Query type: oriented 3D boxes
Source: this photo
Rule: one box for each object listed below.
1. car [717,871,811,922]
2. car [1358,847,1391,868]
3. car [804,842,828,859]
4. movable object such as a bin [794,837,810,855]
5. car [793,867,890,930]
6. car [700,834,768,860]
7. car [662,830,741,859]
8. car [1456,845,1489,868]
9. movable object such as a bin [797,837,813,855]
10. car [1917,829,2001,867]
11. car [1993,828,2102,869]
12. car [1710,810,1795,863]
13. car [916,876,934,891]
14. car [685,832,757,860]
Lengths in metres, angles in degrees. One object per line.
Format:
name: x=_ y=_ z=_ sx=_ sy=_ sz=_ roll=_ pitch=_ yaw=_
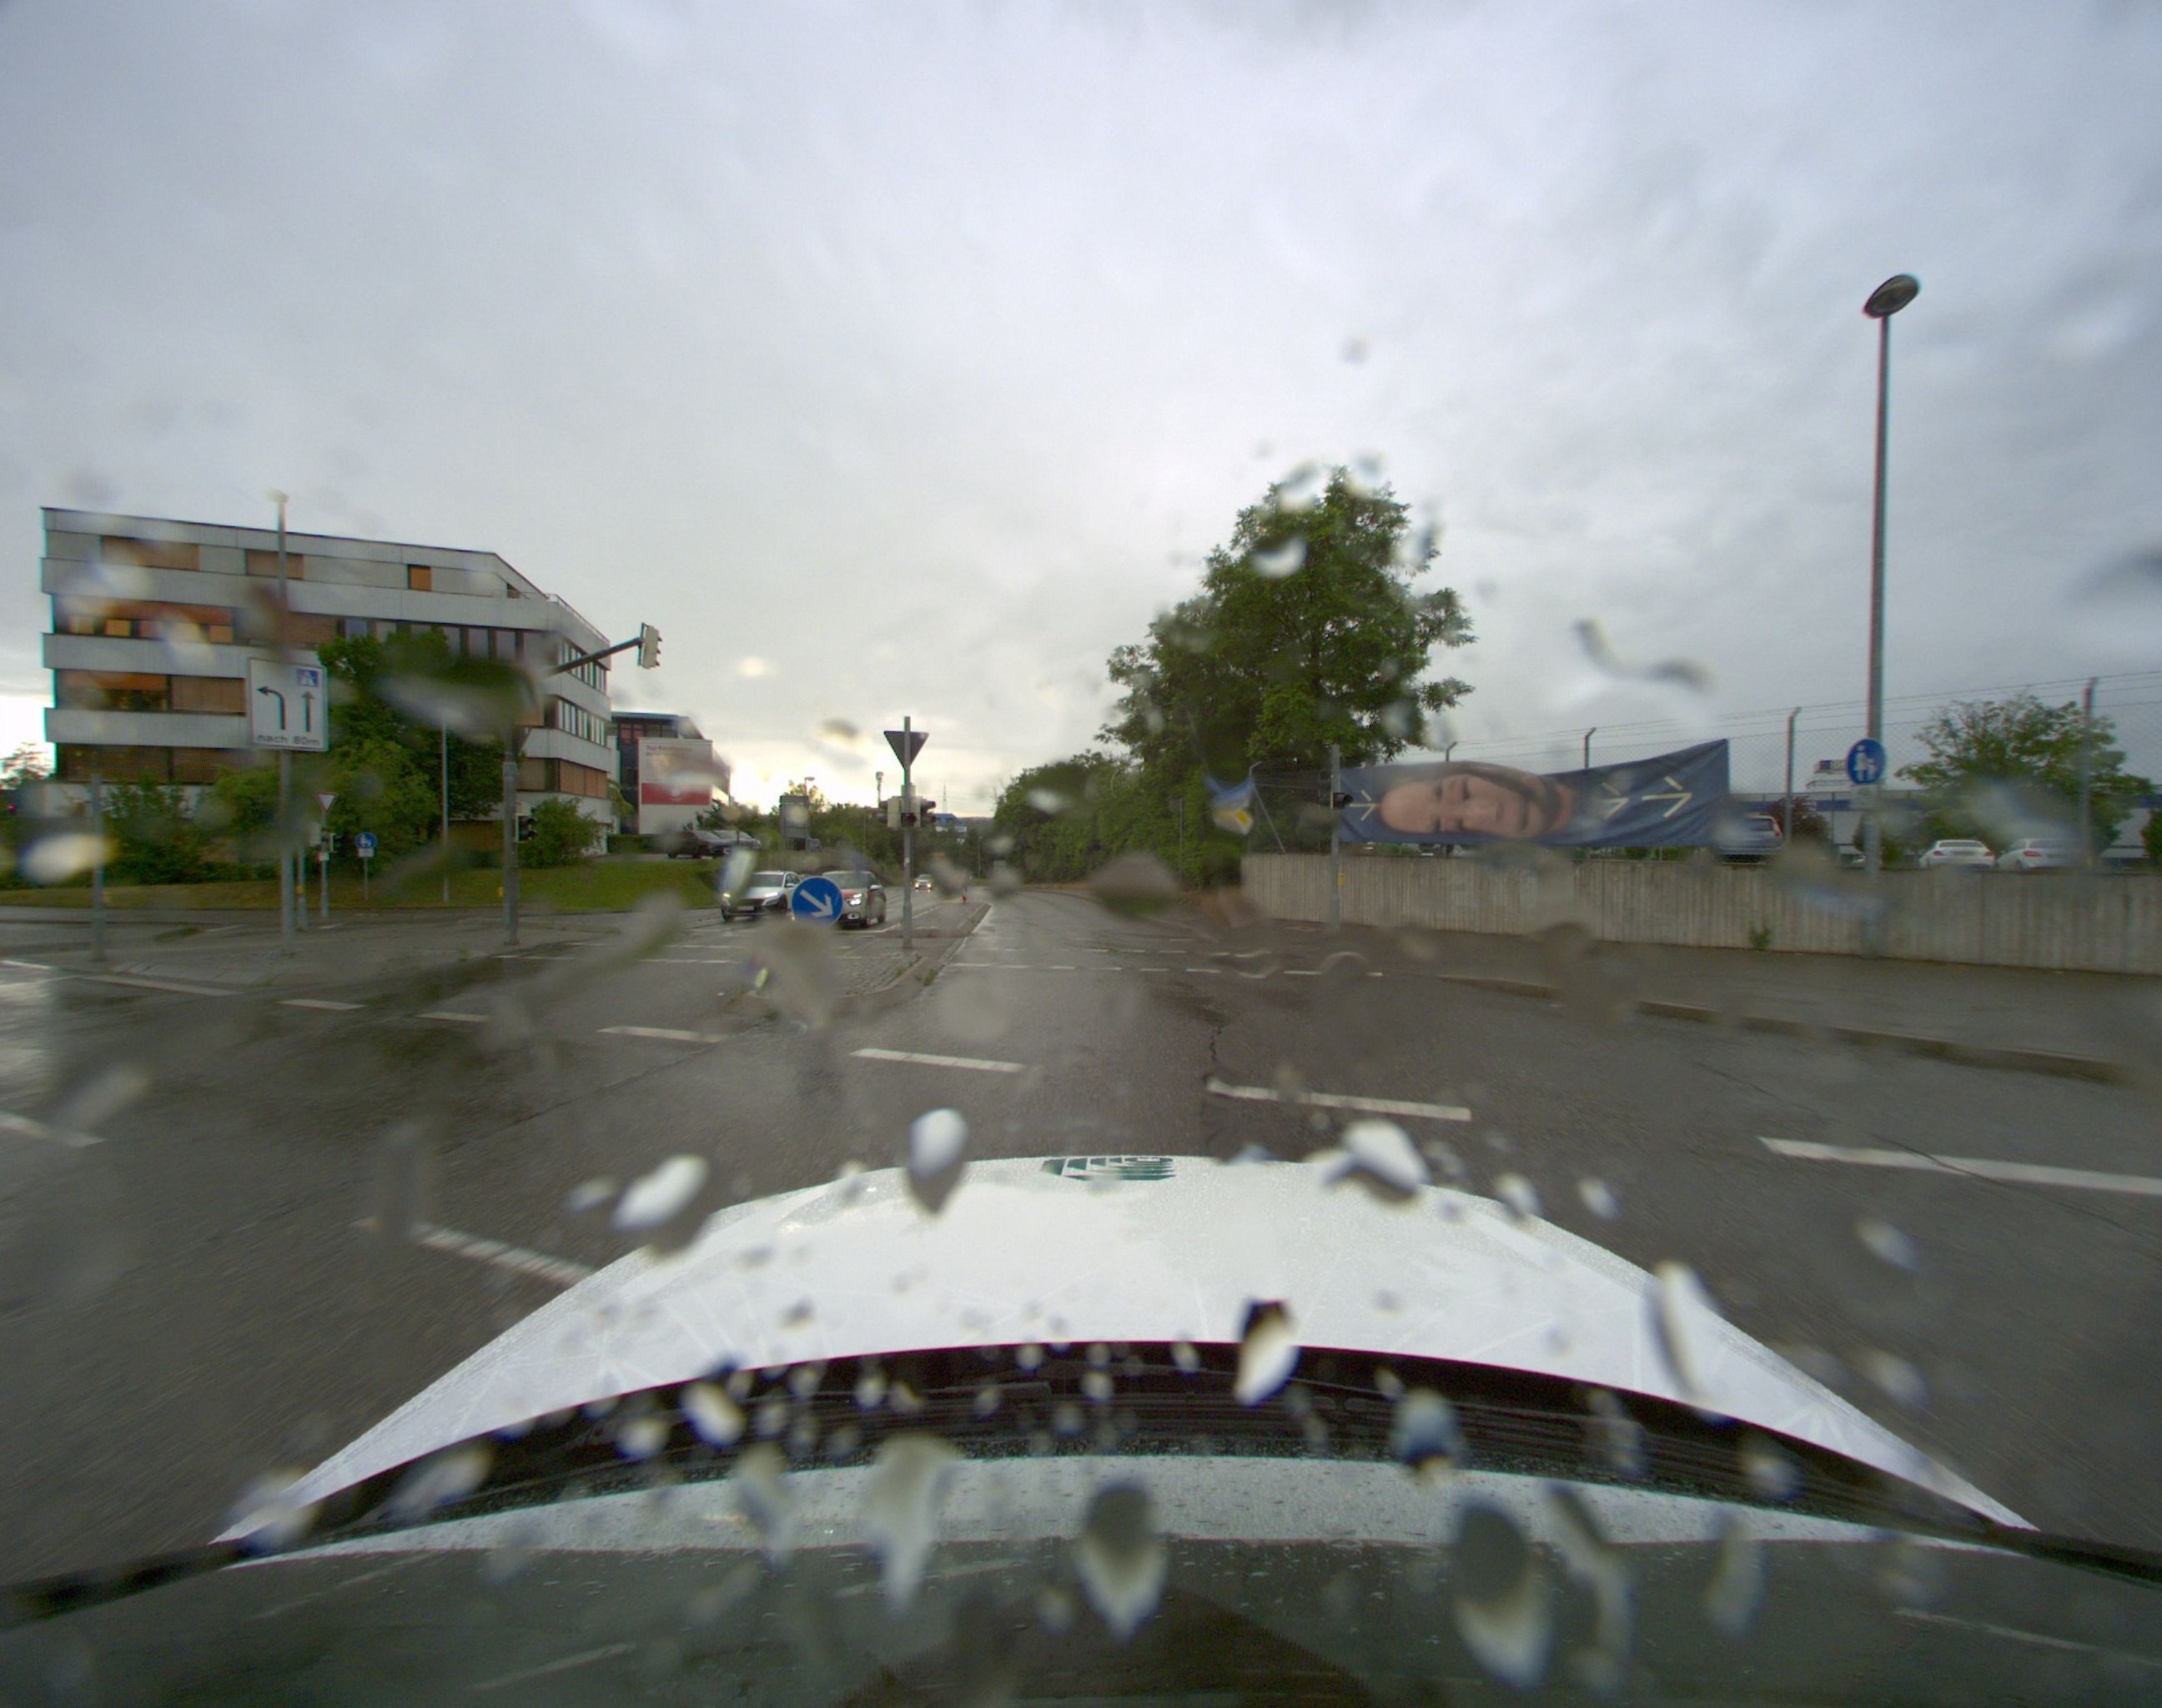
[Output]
car: x=-10.190 y=1.304 z=26.470 sx=1.717 sy=1.494 sz=3.994 roll=0 pitch=-1 yaw=-4
car: x=23.391 y=0.265 z=64.893 sx=1.650 sy=1.606 sz=3.553 roll=-1 pitch=-1 yaw=34
car: x=-24.962 y=-0.313 z=76.859 sx=1.829 sy=1.442 sz=3.981 roll=1 pitch=-2 yaw=-13
movable object such as a bin: x=-22.648 y=-0.650 z=66.174 sx=1.085 sy=1.437 sz=1.440 roll=1 pitch=-2 yaw=-13
car: x=-6.250 y=1.103 z=21.690 sx=1.658 sy=1.494 sz=3.994 roll=0 pitch=-1 yaw=-4
car: x=-22.620 y=-0.444 z=53.071 sx=3.950 sy=1.586 sz=1.913 roll=0 pitch=-2 yaw=26
car: x=-21.997 y=-0.540 z=47.277 sx=3.952 sy=1.586 sz=1.912 roll=0 pitch=-2 yaw=22
car: x=28.920 y=0.171 z=60.151 sx=1.650 sy=1.606 sz=3.553 roll=-1 pitch=-1 yaw=34
movable object such as a bin: x=-22.961 y=-0.635 z=67.657 sx=1.085 sy=1.437 sz=1.440 roll=1 pitch=-2 yaw=-13
car: x=36.079 y=-0.221 z=33.573 sx=1.800 sy=1.434 sz=4.129 roll=-1 pitch=-1 yaw=39
car: x=38.312 y=-0.207 z=32.405 sx=1.839 sy=1.526 sz=4.130 roll=-1 pitch=-1 yaw=36
car: x=21.163 y=-0.503 z=25.789 sx=1.726 sy=1.553 sz=3.553 roll=-1 pitch=-1 yaw=34
car: x=-15.661 y=2.958 z=81.852 sx=1.652 sy=1.429 sz=3.780 roll=0 pitch=-1 yaw=-9
car: x=-22.133 y=-0.473 z=50.104 sx=3.950 sy=1.586 sz=1.913 roll=0 pitch=-2 yaw=26
